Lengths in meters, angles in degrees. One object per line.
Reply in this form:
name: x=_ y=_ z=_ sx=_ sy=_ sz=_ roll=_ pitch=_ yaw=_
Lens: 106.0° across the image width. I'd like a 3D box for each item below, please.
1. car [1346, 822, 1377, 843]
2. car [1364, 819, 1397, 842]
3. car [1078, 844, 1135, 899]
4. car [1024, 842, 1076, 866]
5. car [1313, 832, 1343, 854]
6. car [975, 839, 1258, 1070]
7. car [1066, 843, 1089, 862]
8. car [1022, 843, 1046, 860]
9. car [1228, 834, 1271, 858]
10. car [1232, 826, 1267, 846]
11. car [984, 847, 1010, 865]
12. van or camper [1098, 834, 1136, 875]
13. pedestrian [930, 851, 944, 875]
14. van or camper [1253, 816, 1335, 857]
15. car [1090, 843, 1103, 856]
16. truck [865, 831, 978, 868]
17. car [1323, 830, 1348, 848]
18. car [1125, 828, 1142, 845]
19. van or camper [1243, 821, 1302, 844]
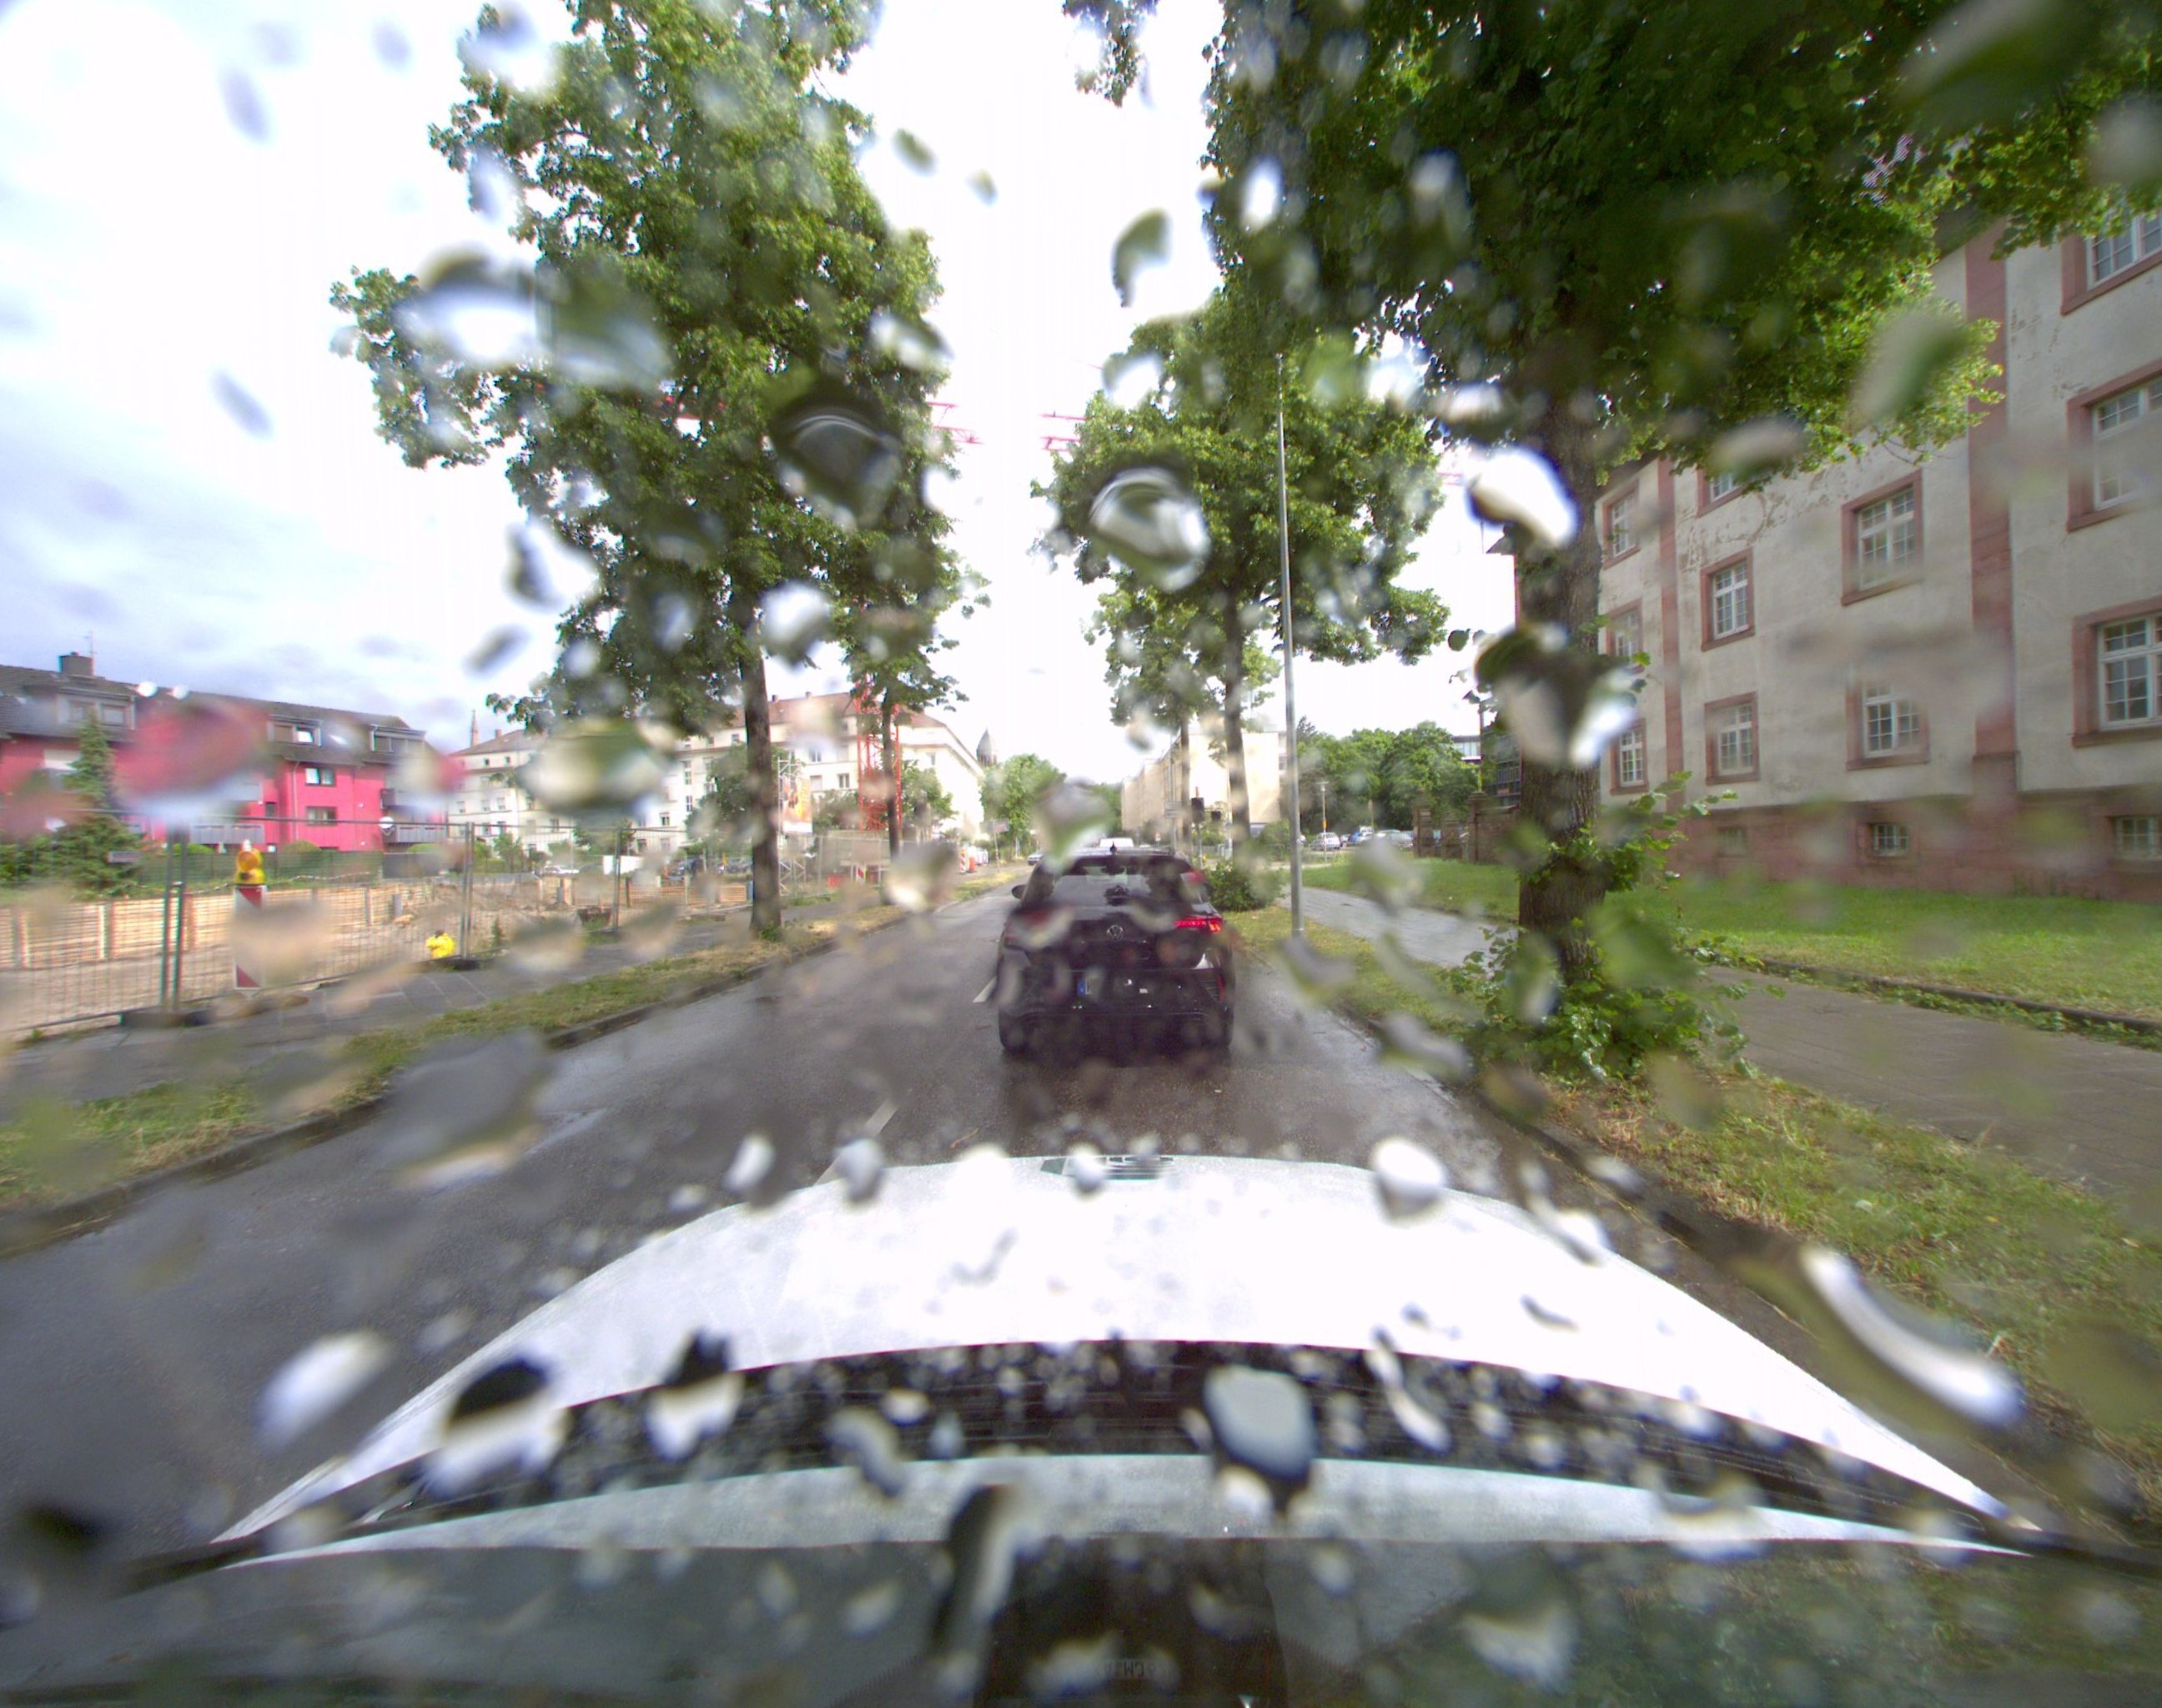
car: x=29.138 y=-2.234 z=84.705 sx=1.984 sy=2.013 sz=4.007 roll=-5 pitch=0 yaw=6
car: x=29.137 y=-2.231 z=79.323 sx=1.984 sy=2.013 sz=4.007 roll=-5 pitch=0 yaw=6
car: x=0.972 y=0.570 z=28.944 sx=1.672 sy=1.708 sz=3.915 roll=-4 pitch=0 yaw=5
car: x=-2.623 y=-0.013 z=68.809 sx=3.941 sy=1.650 sz=1.746 roll=-5 pitch=0 yaw=-24
car: x=21.008 y=-0.916 z=69.318 sx=1.733 sy=1.683 sz=3.879 roll=-5 pitch=0 yaw=8
car: x=0.313 y=0.663 z=7.526 sx=1.887 sy=1.522 sz=4.002 roll=-1 pitch=1 yaw=2
car: x=-0.391 y=-0.124 z=79.756 sx=1.786 sy=1.683 sz=4.478 roll=-5 pitch=1 yaw=-5
car: x=-4.731 y=-0.303 z=82.524 sx=1.582 sy=1.512 sz=3.740 roll=-5 pitch=1 yaw=8
car: x=14.033 y=-0.700 z=68.000 sx=3.388 sy=1.781 sz=1.764 roll=-3 pitch=0 yaw=8
car: x=17.235 y=-1.841 z=83.384 sx=3.386 sy=1.781 sz=1.765 roll=-5 pitch=0 yaw=10
car: x=-8.281 y=0.166 z=80.270 sx=1.582 sy=1.512 sz=3.740 roll=-5 pitch=1 yaw=8
van or camper: x=1.861 y=-0.020 z=41.642 sx=1.812 sy=1.947 sz=4.199 roll=-1 pitch=1 yaw=3
pedestrian: x=-9.219 y=0.556 z=52.107 sx=0.663 sy=1.485 sz=0.668 roll=-2 pitch=1 yaw=-23
van or camper: x=14.655 y=-1.207 z=56.274 sx=5.016 sy=2.595 sz=2.168 roll=-3 pitch=0 yaw=0
car: x=1.975 y=-0.612 z=105.762 sx=1.586 sy=1.512 sz=3.732 roll=-5 pitch=1 yaw=1
truck: x=-12.477 y=-0.336 z=64.021 sx=8.157 sy=2.656 sz=2.824 roll=-1 pitch=1 yaw=12
car: x=28.265 y=-1.663 z=90.524 sx=1.858 sy=1.856 sz=3.816 roll=-5 pitch=0 yaw=6
car: x=6.504 y=-2.146 z=102.002 sx=1.986 sy=2.013 sz=4.002 roll=-1 pitch=0 yaw=2
van or camper: x=17.262 y=-1.951 z=73.582 sx=4.856 sy=1.925 sz=2.132 roll=-1 pitch=1 yaw=2
